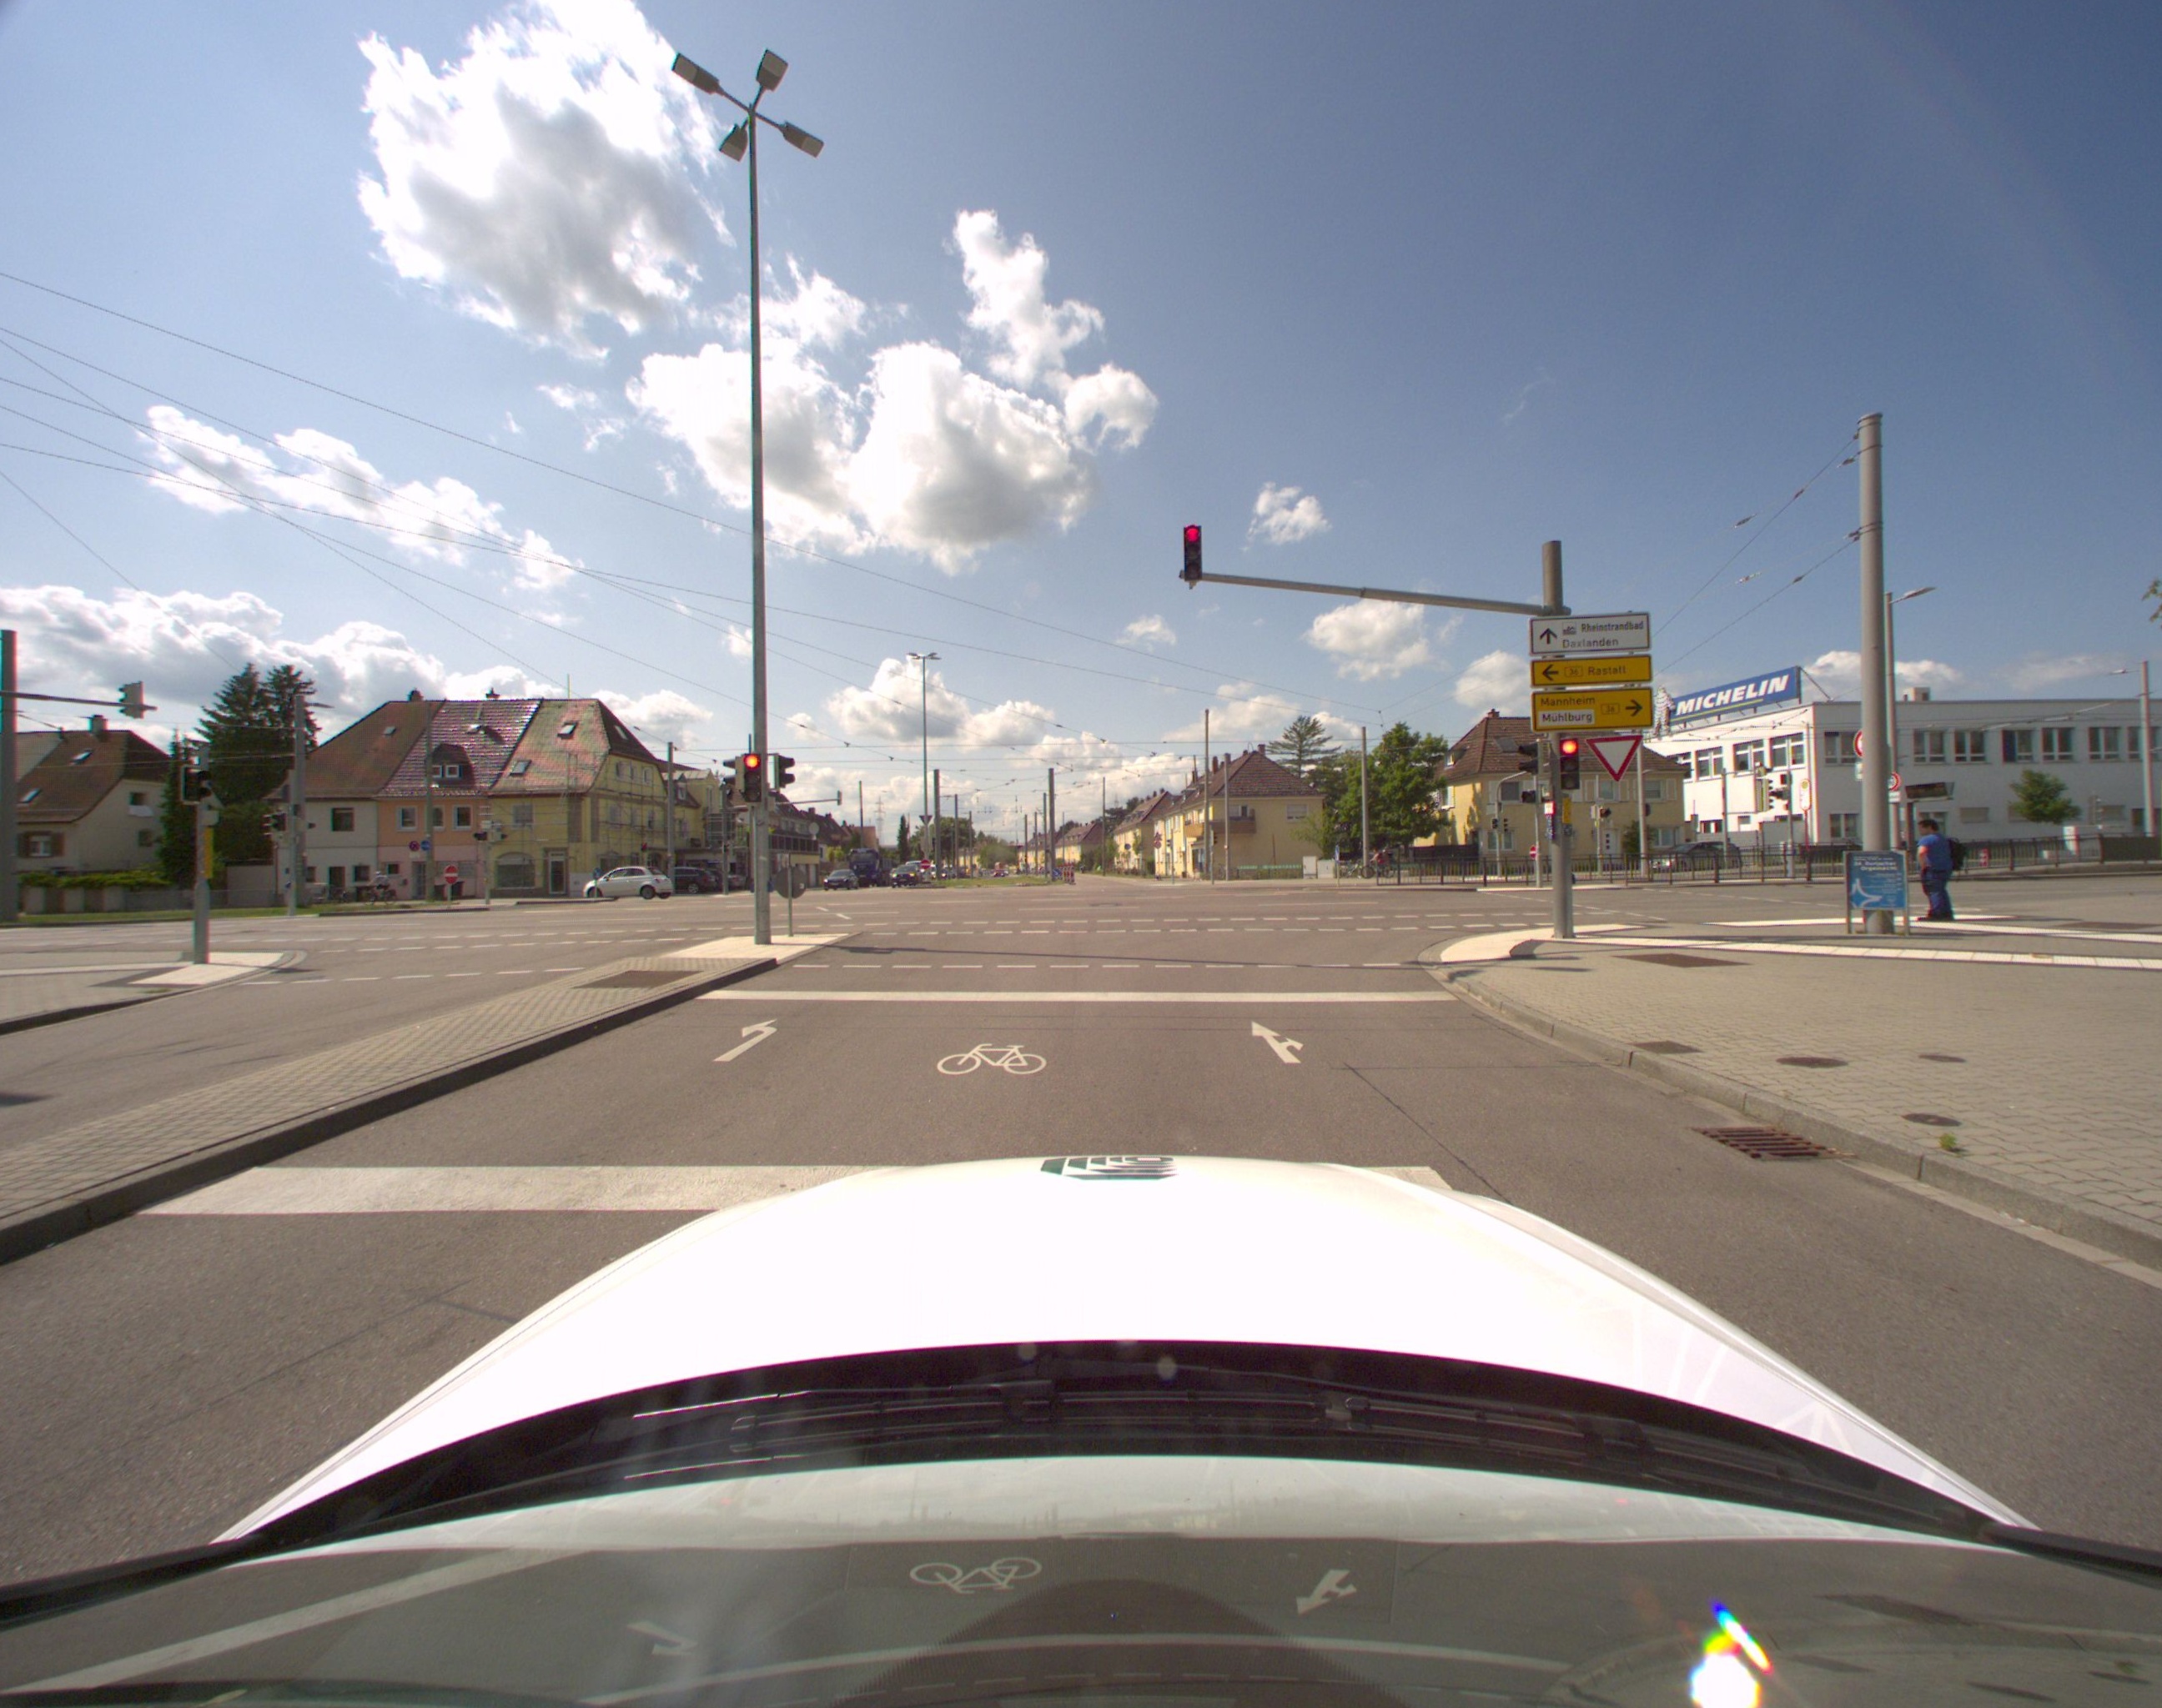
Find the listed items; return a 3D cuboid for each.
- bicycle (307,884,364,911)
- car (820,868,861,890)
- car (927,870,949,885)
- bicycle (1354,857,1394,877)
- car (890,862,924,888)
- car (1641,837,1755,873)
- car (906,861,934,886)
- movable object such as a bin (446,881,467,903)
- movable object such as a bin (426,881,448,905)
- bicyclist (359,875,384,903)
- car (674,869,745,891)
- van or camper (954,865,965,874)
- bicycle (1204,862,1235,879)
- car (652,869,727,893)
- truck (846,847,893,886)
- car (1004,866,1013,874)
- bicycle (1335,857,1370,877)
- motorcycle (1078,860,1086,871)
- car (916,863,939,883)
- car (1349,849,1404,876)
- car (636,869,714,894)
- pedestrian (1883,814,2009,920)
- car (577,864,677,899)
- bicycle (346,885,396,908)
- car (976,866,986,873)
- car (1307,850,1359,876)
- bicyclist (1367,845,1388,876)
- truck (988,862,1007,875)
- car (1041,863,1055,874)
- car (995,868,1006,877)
[{"bbox_3d":[-40.804,2.357,44.626,0.770,1.356,2.460,0,-1,3],"label":"bicycle"},{"bbox_3d":[-17.237,1.791,58.628,1.824,1.487,4.328,-1,-1,-3],"label":"car"},{"bbox_3d":[-14.254,2.339,81.277,1.912,1.419,3.991,-1,-1,-6],"label":"car"},{"bbox_3d":[16.859,0.747,46.874,2.007,1.102,0.720,-2,-2,31],"label":"bicycle"},{"bbox_3d":[-12.779,1.504,60.005,1.783,1.720,4.434,-1,0,-5],"label":"car"},{"bbox_3d":[28.962,0.061,38.308,3.974,1.568,1.842,-2,-1,-1],"label":"car"},{"bbox_3d":[-13.106,1.541,66.434,1.812,1.922,4.737,-1,-1,-6],"label":"car"},{"bbox_3d":[-35.349,2.147,46.092,0.680,1.260,0.681,0,-1,-2],"label":"movable object such as a bin"},{"bbox_3d":[-35.374,2.137,44.757,0.680,1.260,0.681,0,-1,-2],"label":"movable object such as a bin"},{"bbox_3d":[-36.548,1.822,41.966,0.720,1.398,0.577,-1,0,-1],"label":"bicyclist"},{"bbox_3d":[-25.394,1.792,55.754,4.129,1.493,1.431,0,-1,-7],"label":"car"},{"bbox_3d":[-38.107,4.960,255.550,2.695,2.702,6.488,-1,0,-13],"label":"van or camper"},{"bbox_3d":[9.414,1.147,55.413,0.597,1.096,2.251,0,-2,-36],"label":"bicycle"},{"bbox_3d":[-25.449,1.735,53.042,4.129,1.493,1.504,0,-1,-7],"label":"car"},{"bbox_3d":[-18.163,1.098,70.269,2.765,3.188,7.565,-1,-1,-6],"label":"truck"},{"bbox_3d":[-15.966,3.561,179.783,1.840,1.562,4.180,-2,-1,-5],"label":"car"},{"bbox_3d":[16.068,0.764,48.173,1.785,1.105,0.707,-2,-1,41],"label":"bicycle"},{"bbox_3d":[0.145,1.850,132.212,1.065,1.635,2.079,-1,-1,-6],"label":"motorcycle"},{"bbox_3d":[-13.979,1.736,74.328,1.731,1.782,4.395,-2,-1,-6],"label":"car"},{"bbox_3d":[19.765,0.587,54.703,1.821,1.621,3.989,-1,-2,-8],"label":"car"},{"bbox_3d":[-25.087,1.714,50.356,4.129,1.493,1.176,0,-1,-7],"label":"car"},{"bbox_3d":[14.871,0.220,14.037,1.027,1.735,1.040,-1,0,-2],"label":"pedestrian"},{"bbox_3d":[-20.169,1.211,36.273,3.533,1.508,1.583,0,-1,-4],"label":"car"},{"bbox_3d":[-36.553,2.190,41.953,1.895,1.078,0.694,-1,0,-2],"label":"bicycle"},{"bbox_3d":[-27.854,4.354,227.184,2.000,1.910,3.973,-1,0,-20],"label":"car"},{"bbox_3d":[16.975,0.656,55.133,1.821,1.621,3.989,-1,-2,-8],"label":"car"},{"bbox_3d":[17.109,0.383,46.973,0.948,1.775,0.724,-2,-2,31],"label":"bicyclist"},{"bbox_3d":[-22.421,3.918,218.292,2.651,3.494,9.368,-1,-1,-21],"label":"truck"},{"bbox_3d":[-6.394,2.778,157.621,2.064,2.149,4.865,-1,-1,-8],"label":"car"},{"bbox_3d":[-14.956,3.462,151.327,1.840,1.494,4.847,-2,-1,-5],"label":"car"}]
